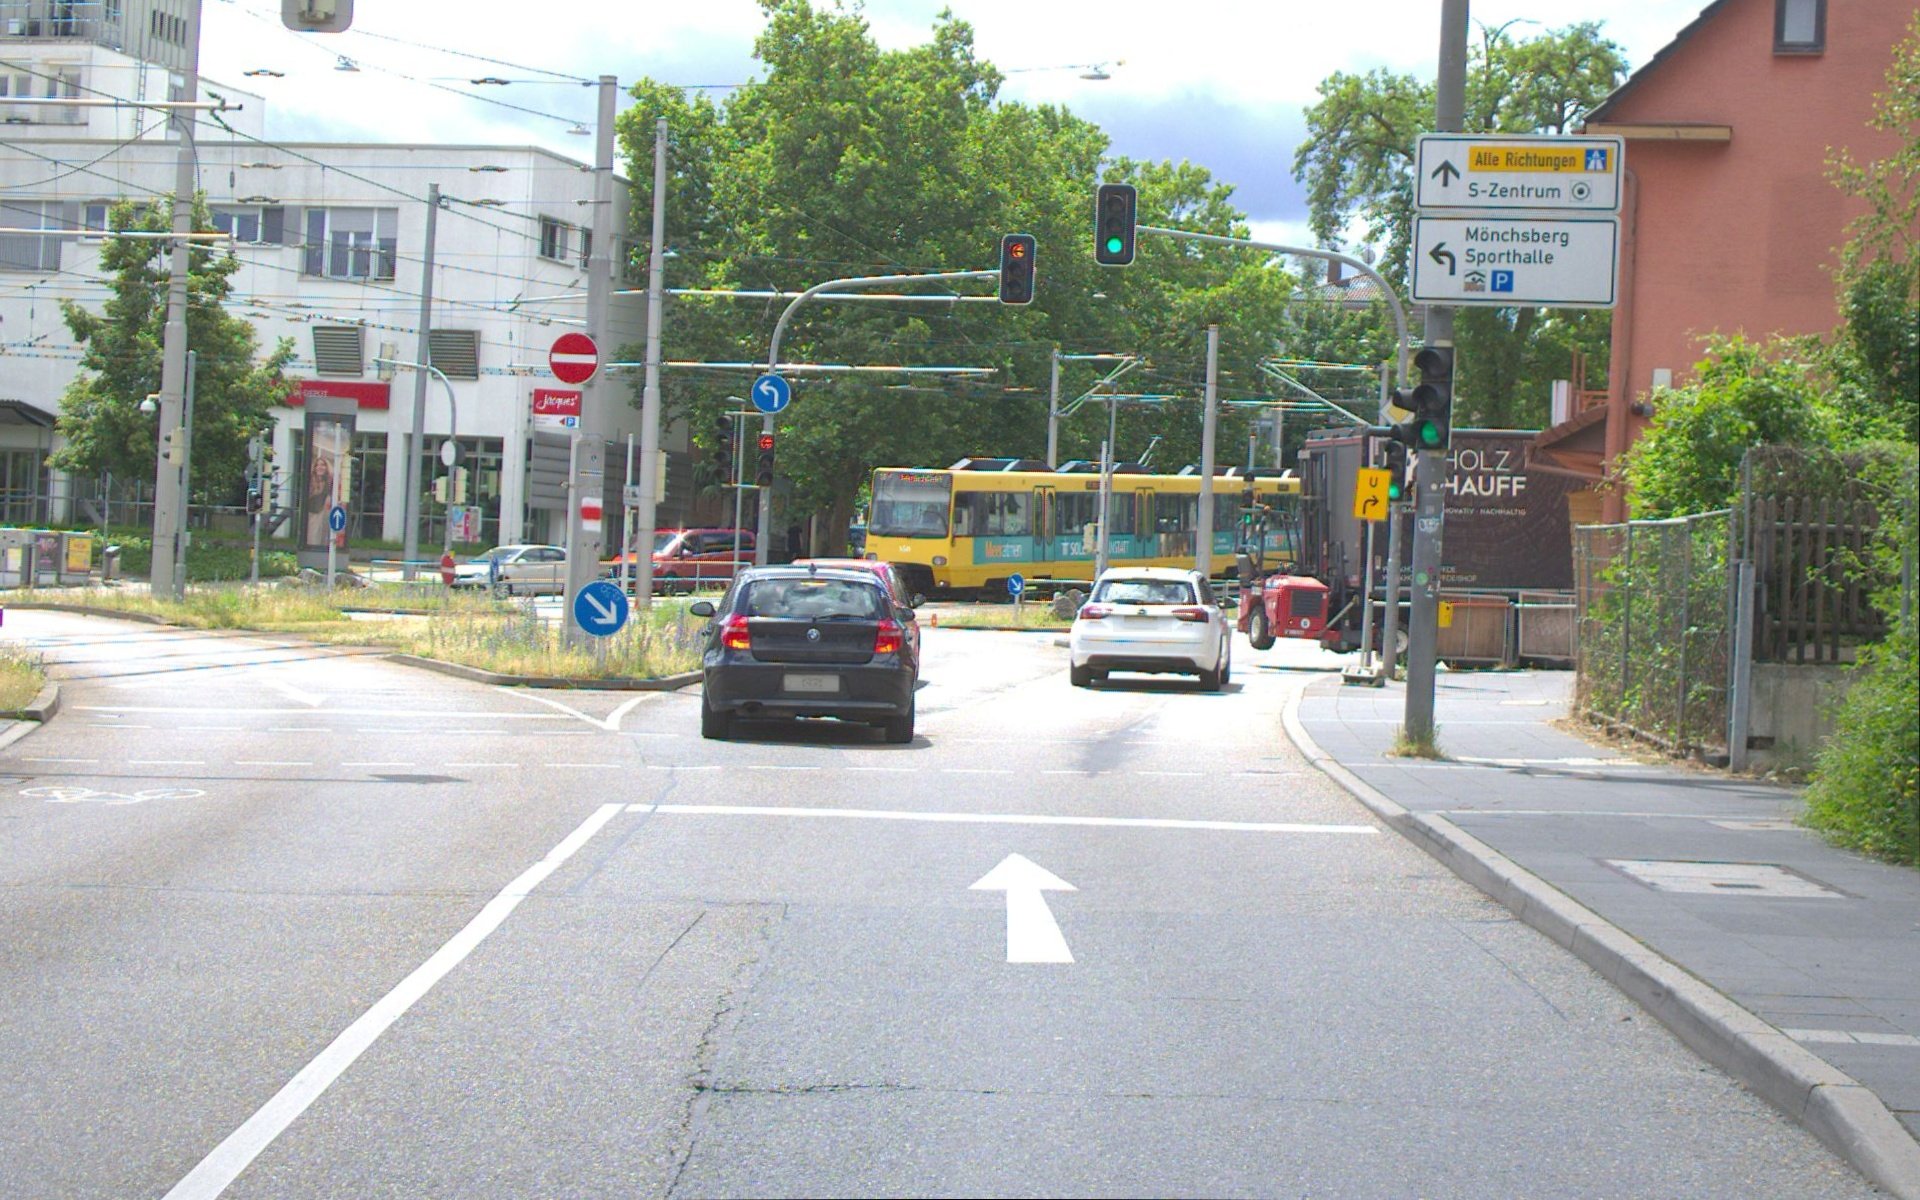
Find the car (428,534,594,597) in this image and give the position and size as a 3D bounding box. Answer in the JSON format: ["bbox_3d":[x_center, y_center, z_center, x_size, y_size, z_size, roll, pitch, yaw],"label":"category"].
[{"bbox_3d":[-11.888,-0.902,91.163,1.998,1.459,3.990,3,1,41],"label":"car"}]

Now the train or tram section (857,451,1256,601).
[{"bbox_3d":[3.125,-1.934,96.416,2.702,3.738,18.330,4,2,30],"label":"train or tram section"}]

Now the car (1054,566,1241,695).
[{"bbox_3d":[2.384,0.362,42.784,1.889,1.460,4.067,2,0,9],"label":"car"}]

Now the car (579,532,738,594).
[{"bbox_3d":[-8.452,-1.040,96.487,1.998,1.595,4.189,3,2,41],"label":"car"}]

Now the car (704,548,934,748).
[{"bbox_3d":[-1.233,0.345,28.578,1.726,1.451,3.809,2,1,-4],"label":"car"}]

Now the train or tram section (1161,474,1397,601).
[{"bbox_3d":[10.751,-1.998,112.767,2.700,3.738,18.341,3,2,21],"label":"train or tram section"}]

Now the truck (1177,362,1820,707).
[{"bbox_3d":[8.290,-0.940,53.135,8.996,4.520,3.215,4,-1,-15],"label":"truck"}]

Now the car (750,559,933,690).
[{"bbox_3d":[-1.359,0.256,40.832,1.712,1.388,3.808,2,1,4],"label":"car"}]
